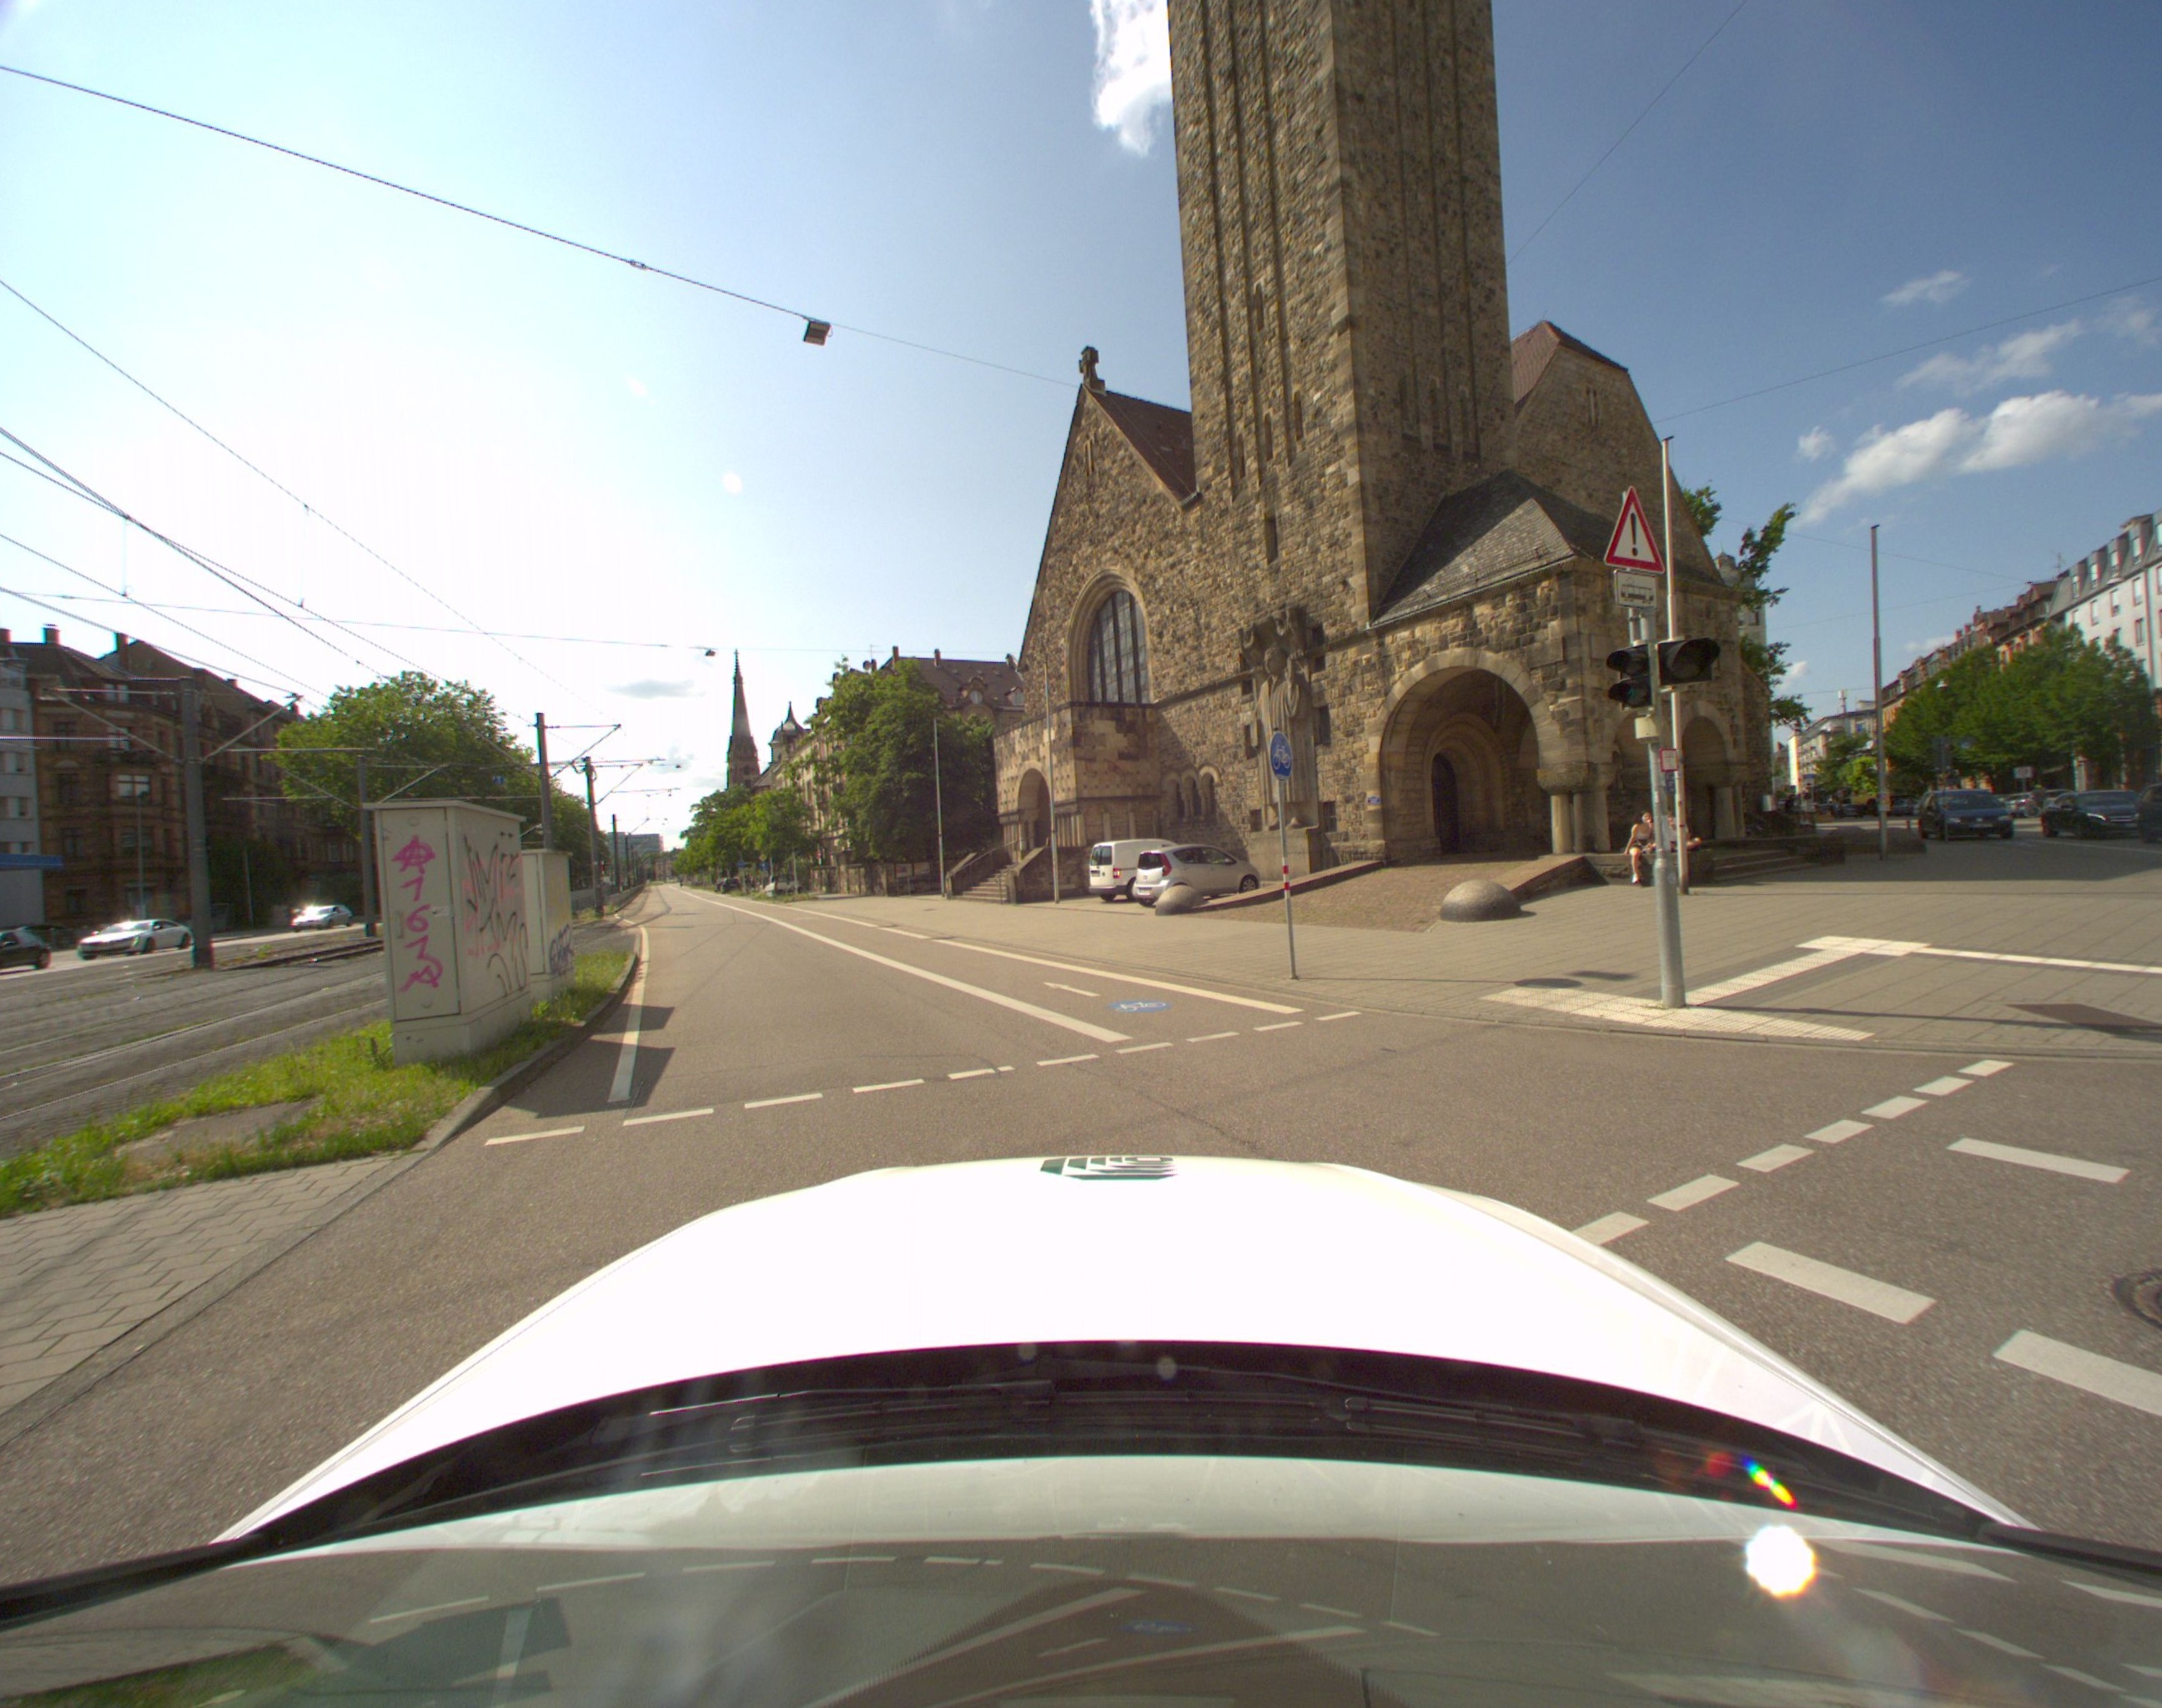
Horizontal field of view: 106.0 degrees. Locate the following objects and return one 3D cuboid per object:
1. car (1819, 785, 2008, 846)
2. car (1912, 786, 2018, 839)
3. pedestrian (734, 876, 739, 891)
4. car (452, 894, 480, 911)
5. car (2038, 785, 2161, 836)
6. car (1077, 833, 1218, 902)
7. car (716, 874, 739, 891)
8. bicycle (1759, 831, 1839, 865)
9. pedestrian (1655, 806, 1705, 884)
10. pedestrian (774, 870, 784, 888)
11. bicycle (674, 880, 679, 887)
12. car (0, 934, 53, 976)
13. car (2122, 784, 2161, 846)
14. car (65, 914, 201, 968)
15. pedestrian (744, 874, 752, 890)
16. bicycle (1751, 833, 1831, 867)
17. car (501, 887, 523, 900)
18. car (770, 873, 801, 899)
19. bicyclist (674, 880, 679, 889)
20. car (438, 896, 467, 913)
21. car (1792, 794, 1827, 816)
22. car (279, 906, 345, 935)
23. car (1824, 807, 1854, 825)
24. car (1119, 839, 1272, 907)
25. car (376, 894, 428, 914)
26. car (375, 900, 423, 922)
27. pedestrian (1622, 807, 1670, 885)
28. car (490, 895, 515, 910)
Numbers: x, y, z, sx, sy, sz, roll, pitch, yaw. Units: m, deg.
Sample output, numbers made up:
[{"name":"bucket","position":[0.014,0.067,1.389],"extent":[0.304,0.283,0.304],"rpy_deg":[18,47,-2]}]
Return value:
[{"name":"car","position":[26.325,-1.154,25.975],"extent":[2.017,1.652,3.976],"rpy_deg":[-4,0,4]},{"name":"car","position":[31.748,-1.519,29.365],"extent":[1.791,1.664,4.100],"rpy_deg":[-4,1,37]},{"name":"pedestrian","position":[-39.321,3.362,92.973],"extent":[0.319,1.706,0.458],"rpy_deg":[-6,1,-14]},{"name":"car","position":[-66.257,5.236,87.761],"extent":[1.653,1.482,3.964],"rpy_deg":[-7,2,-28]},{"name":"car","position":[31.889,-1.343,25.415],"extent":[1.681,1.390,3.887],"rpy_deg":[-4,0,36]},{"name":"car","position":[2.105,0.399,25.510],"extent":[4.029,1.823,1.845],"rpy_deg":[-4,0,-31]},{"name":"car","position":[-35.422,2.809,81.557],"extent":[1.696,1.502,4.665],"rpy_deg":[-4,0,-27]},{"name":"bicycle","position":[16.849,-0.128,19.134],"extent":[0.340,0.741,1.354],"rpy_deg":[-4,0,-30]},{"name":"pedestrian","position":[11.488,-0.184,15.631],"extent":[0.552,1.406,0.520],"rpy_deg":[-6,5,15]},{"name":"pedestrian","position":[-28.528,2.373,76.971],"extent":[0.727,1.629,0.718],"rpy_deg":[-4,0,-28]},{"name":"bicycle","position":[-79.023,5.786,159.124],"extent":[0.803,1.236,2.752],"rpy_deg":[-3,0,-27]},{"name":"car","position":[-35.829,3.383,26.428],"extent":[1.625,1.189,3.601],"rpy_deg":[-4,0,-27]},{"name":"car","position":[28.499,-1.036,20.498],"extent":[1.681,1.596,4.099],"rpy_deg":[-4,0,36]},{"name":"car","position":[-39.568,3.569,34.192],"extent":[1.959,1.606,5.030],"rpy_deg":[-4,2,-28]},{"name":"pedestrian","position":[-38.523,3.212,94.168],"extent":[0.674,1.804,0.316],"rpy_deg":[-7,1,-30]},{"name":"bicycle","position":[16.469,-0.080,18.919],"extent":[0.340,0.741,1.354],"rpy_deg":[-4,0,-30]},{"name":"car","position":[-85.531,5.952,122.423],"extent":[2.004,1.636,3.966],"rpy_deg":[-7,2,-26]},{"name":"car","position":[-18.166,1.933,50.073],"extent":[1.674,1.416,3.818],"rpy_deg":[-2,0,-20]},{"name":"bicyclist","position":[-79.017,6.024,159.122],"extent":[0.775,1.730,1.017],"rpy_deg":[-3,0,-28]},{"name":"car","position":[-63.065,5.052,81.758],"extent":[1.505,1.303,3.461],"rpy_deg":[-7,2,-26]},{"name":"car","position":[49.013,-3.302,54.777],"extent":[1.622,1.325,3.767],"rpy_deg":[-4,0,43]},{"name":"car","position":[-48.435,4.137,51.390],"extent":[1.731,1.416,4.366],"rpy_deg":[-5,1,-27]},{"name":"car","position":[84.996,-4.293,91.412],"extent":[1.974,1.815,4.026],"rpy_deg":[-3,0,37]},{"name":"car","position":[3.157,0.488,22.318],"extent":[3.791,1.547,1.780],"rpy_deg":[-4,0,-30]},{"name":"car","position":[-81.106,5.924,97.345],"extent":[4.429,1.918,1.981],"rpy_deg":[-4,0,-30]},{"name":"car","position":[-51.953,4.310,62.106],"extent":[1.676,1.416,3.753],"rpy_deg":[-4,0,-23]},{"name":"pedestrian","position":[10.944,-0.159,15.776],"extent":[0.552,1.406,0.520],"rpy_deg":[-6,5,15]},{"name":"car","position":[-78.177,6.499,110.133],"extent":[1.725,1.691,3.702],"rpy_deg":[-6,2,-22]}]
